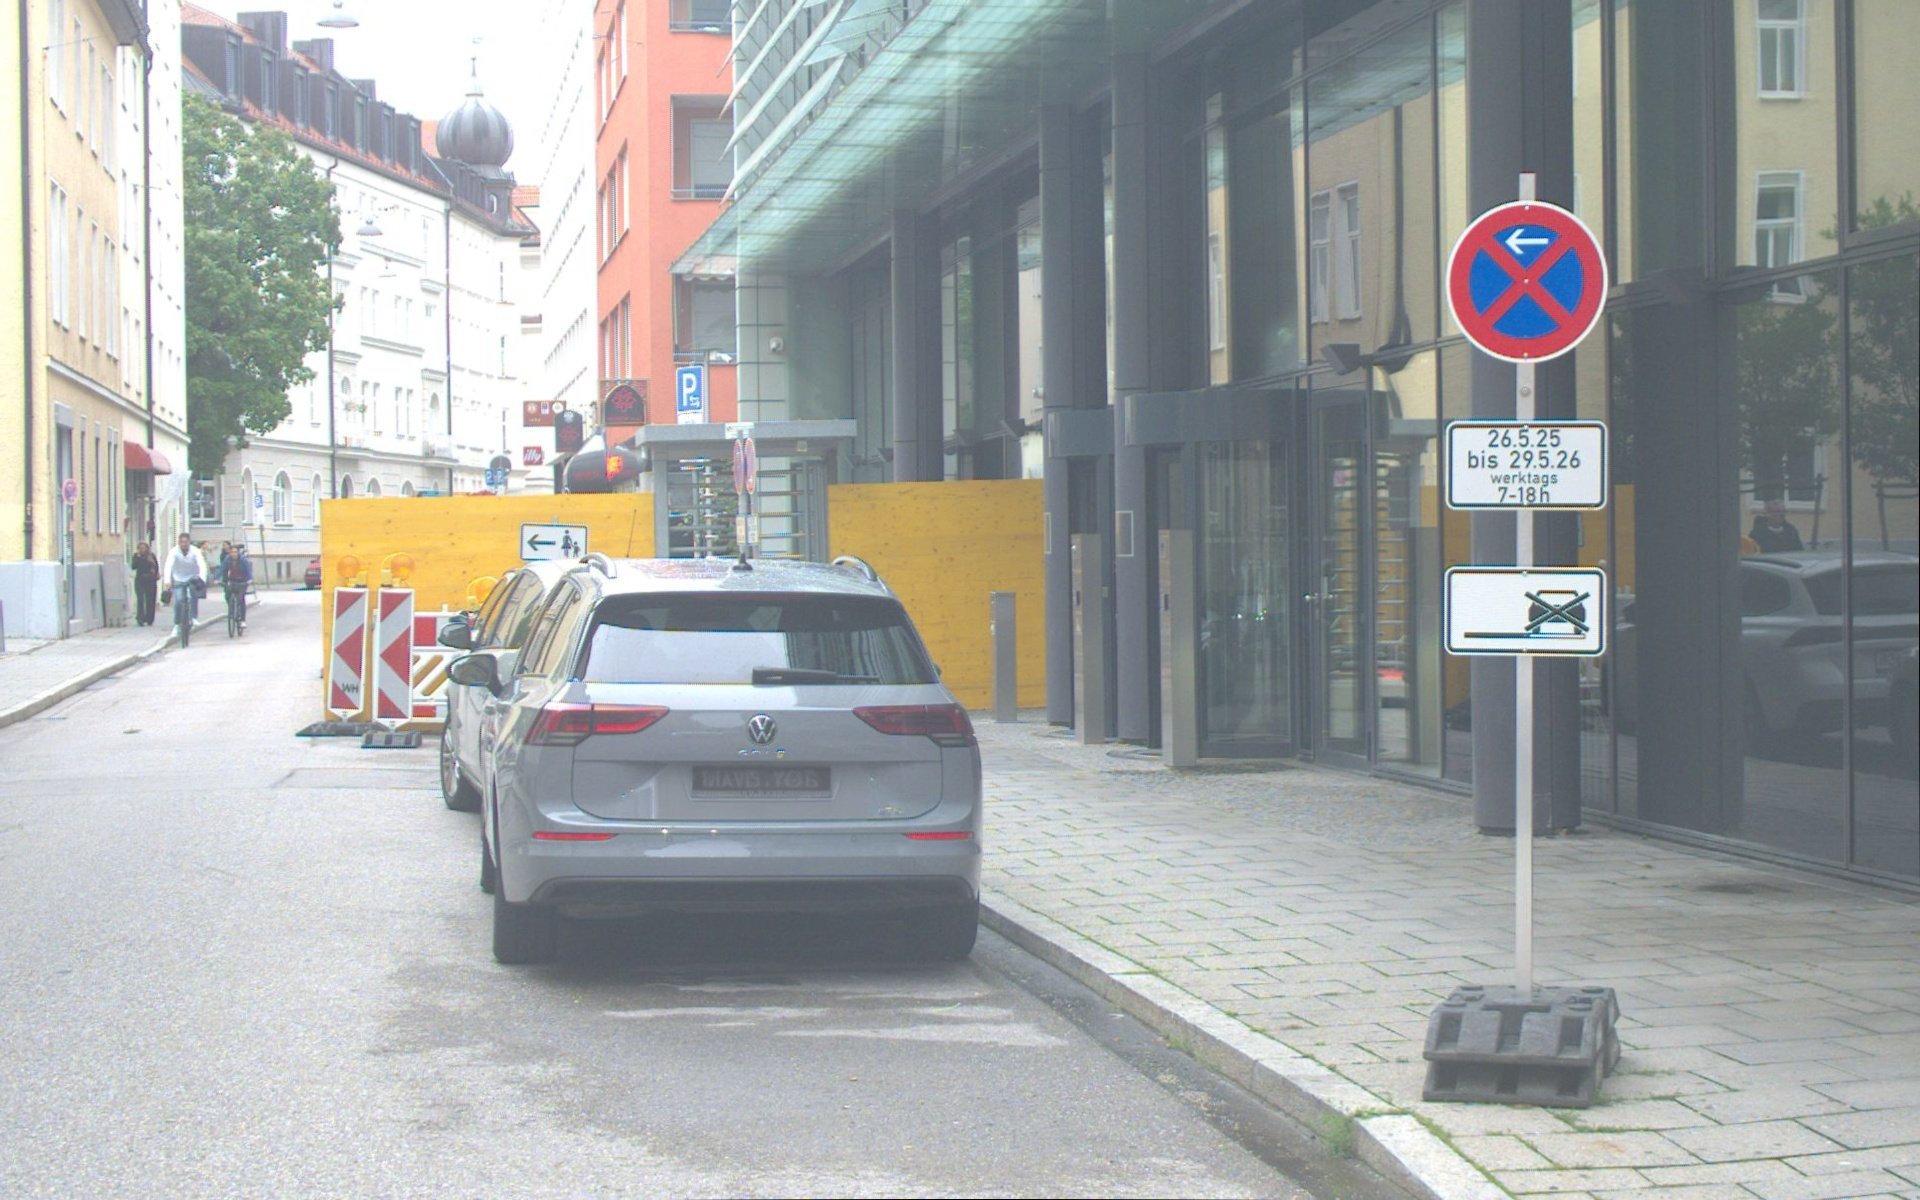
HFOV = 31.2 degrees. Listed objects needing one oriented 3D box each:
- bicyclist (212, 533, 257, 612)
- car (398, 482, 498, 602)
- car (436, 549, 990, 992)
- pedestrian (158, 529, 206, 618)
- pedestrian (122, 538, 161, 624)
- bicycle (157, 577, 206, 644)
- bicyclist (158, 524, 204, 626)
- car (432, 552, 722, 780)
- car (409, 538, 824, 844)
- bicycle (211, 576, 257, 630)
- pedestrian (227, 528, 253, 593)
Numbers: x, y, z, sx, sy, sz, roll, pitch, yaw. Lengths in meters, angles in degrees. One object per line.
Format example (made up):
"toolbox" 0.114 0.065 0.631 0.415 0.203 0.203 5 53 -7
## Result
"bicyclist" -12.745 -0.494 60.401 0.707 1.366 0.813 -1 1 -10
"car" -11.233 -1.262 75.203 1.993 2.528 4.976 0 1 -10
"car" -1.125 0.524 13.445 1.707 1.427 4.330 -1 1 -10
"pedestrian" -14.781 -0.505 65.328 0.839 1.695 0.803 0 1 -10
"pedestrian" -15.594 -0.363 65.499 0.670 1.642 0.762 0 1 -10
"bicycle" -12.654 0.163 55.893 0.661 1.035 2.005 -1 1 -10
"bicyclist" -12.677 -0.411 55.961 0.659 1.637 0.895 -1 1 -10
"car" -2.736 0.397 23.776 1.707 1.409 4.511 1 0 -10
"car" -1.980 0.425 18.671 1.707 1.462 4.238 1 0 -13
"bicycle" -12.753 0.040 60.441 0.707 0.902 1.810 -1 1 -10
"pedestrian" -18.619 -1.025 88.868 0.634 1.669 0.518 0 1 -10
